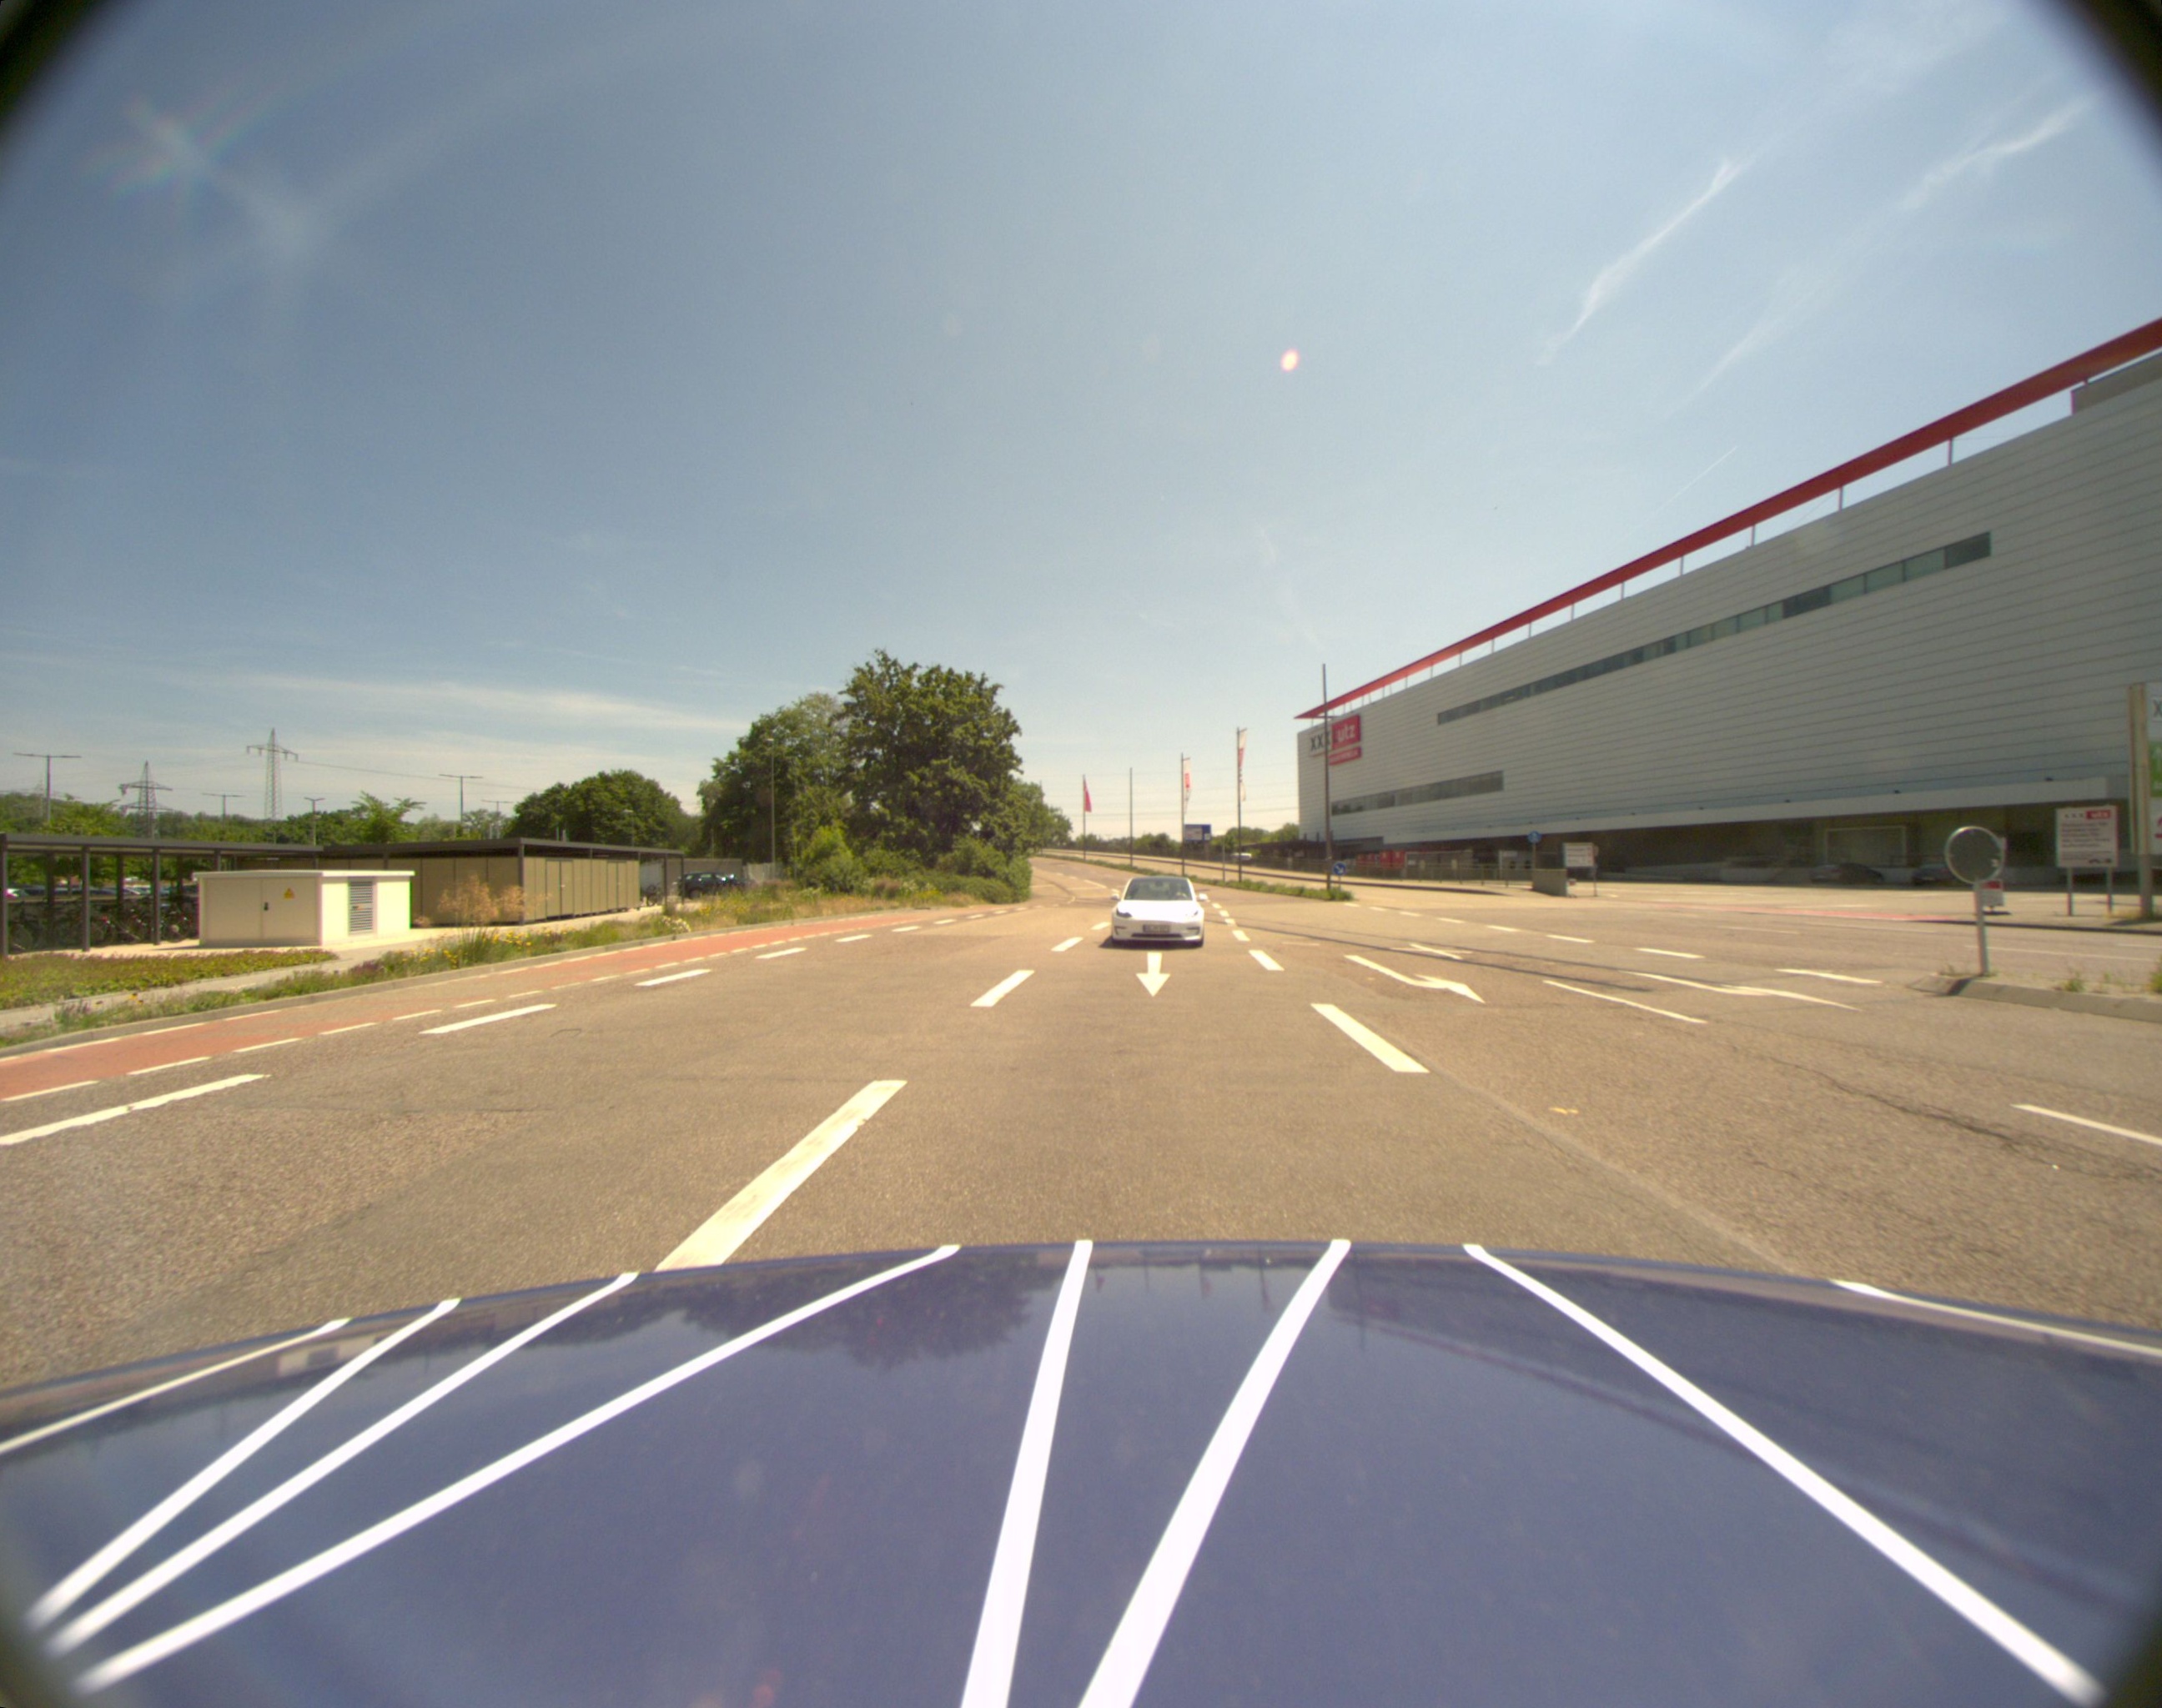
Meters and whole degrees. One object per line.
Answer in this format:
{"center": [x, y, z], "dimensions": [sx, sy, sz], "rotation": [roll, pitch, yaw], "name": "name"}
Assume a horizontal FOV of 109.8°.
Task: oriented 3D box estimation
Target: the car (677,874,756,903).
{"center": [-21.824, 2.025, 45.504], "dimensions": [4.007, 1.652, 1.834], "rotation": [0, -1, -34], "name": "car"}

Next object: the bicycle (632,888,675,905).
{"center": [-22.193, 2.205, 39.442], "dimensions": [1.865, 0.858, 0.583], "rotation": [0, -1, -12], "name": "bicycle"}

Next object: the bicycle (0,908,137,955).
{"center": [-23.344, 1.771, 17.537], "dimensions": [1.841, 0.996, 0.734], "rotation": [0, -1, -17], "name": "bicycle"}

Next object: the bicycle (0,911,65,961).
{"center": [-23.302, 1.764, 16.218], "dimensions": [1.841, 0.996, 0.734], "rotation": [0, -1, -17], "name": "bicycle"}

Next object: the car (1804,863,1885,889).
{"center": [49.376, 1.392, 49.181], "dimensions": [3.750, 1.610, 1.910], "rotation": [0, -1, -11], "name": "car"}

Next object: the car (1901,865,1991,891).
{"center": [50.566, 1.399, 44.452], "dimensions": [3.486, 1.486, 1.958], "rotation": [0, -1, -9], "name": "car"}

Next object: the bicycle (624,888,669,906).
{"center": [-22.040, 2.191, 38.601], "dimensions": [1.884, 0.858, 0.589], "rotation": [0, -1, -12], "name": "bicycle"}

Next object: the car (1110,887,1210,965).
{"center": [1.610, 1.465, 16.755], "dimensions": [1.879, 1.416, 4.408], "rotation": [1, -2, 3], "name": "car"}

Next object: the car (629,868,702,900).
{"center": [-27.143, 1.925, 49.664], "dimensions": [4.008, 2.001, 1.995], "rotation": [1, -1, -36], "name": "car"}
